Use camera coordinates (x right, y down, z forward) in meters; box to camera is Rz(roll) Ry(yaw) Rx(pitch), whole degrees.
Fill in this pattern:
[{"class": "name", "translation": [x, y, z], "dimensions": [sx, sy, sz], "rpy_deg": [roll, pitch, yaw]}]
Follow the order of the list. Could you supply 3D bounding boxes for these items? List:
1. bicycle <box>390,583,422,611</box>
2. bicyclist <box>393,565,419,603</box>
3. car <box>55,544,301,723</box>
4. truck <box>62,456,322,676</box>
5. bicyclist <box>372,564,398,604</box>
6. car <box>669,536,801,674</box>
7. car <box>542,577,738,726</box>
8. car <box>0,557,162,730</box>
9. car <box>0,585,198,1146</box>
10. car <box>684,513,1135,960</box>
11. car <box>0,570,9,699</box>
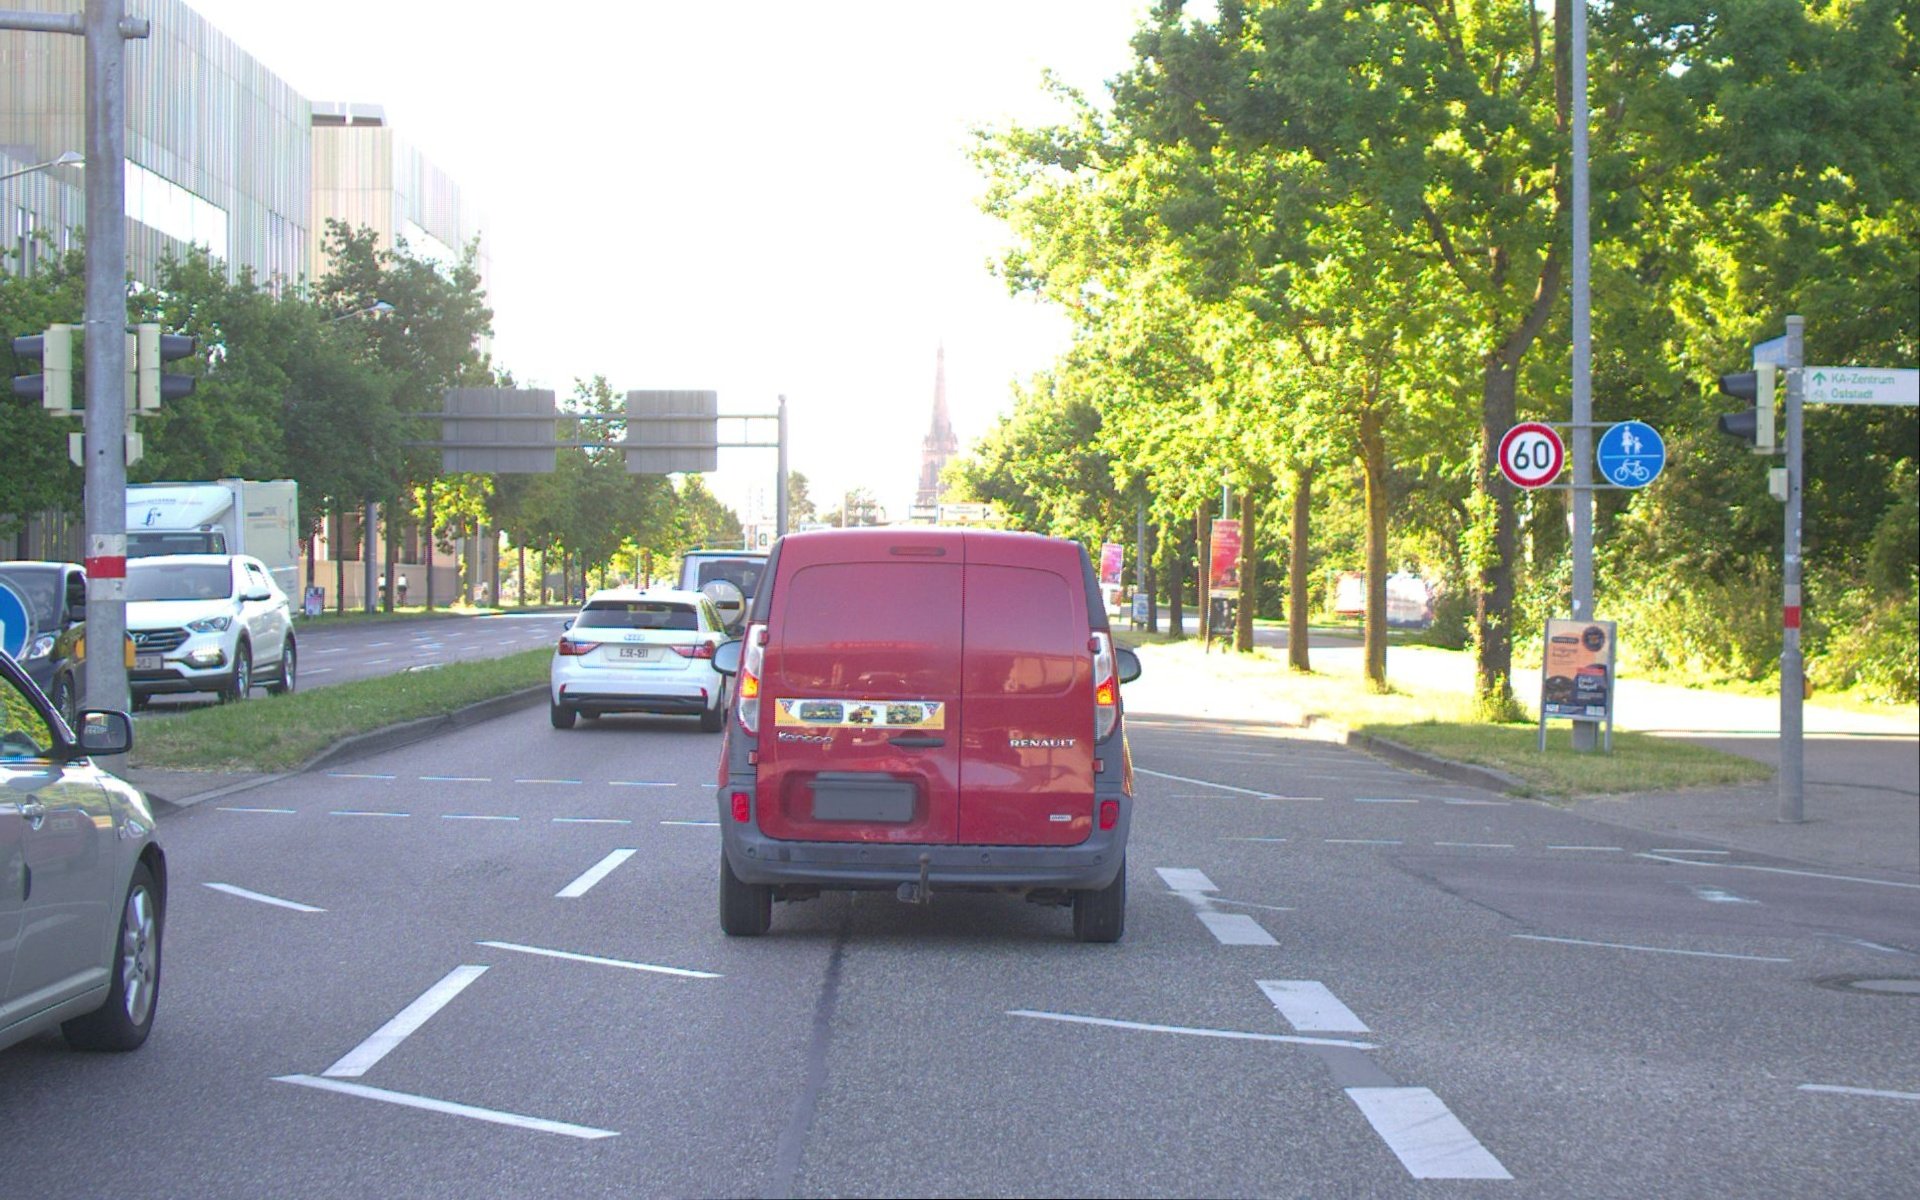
[{"class": "bicycle", "translation": [-25.174, -0.128, 156.263], "dimensions": [0.909, 1.195, 3.300], "rpy_deg": [1, -1, 0]}, {"class": "bicyclist", "translation": [-25.167, -0.716, 156.275], "dimensions": [0.909, 1.680, 1.409], "rpy_deg": [1, -1, 0]}, {"class": "car", "translation": [-8.489, 0.352, 37.642], "dimensions": [1.757, 1.790, 4.083], "rpy_deg": [-2, 0, -1]}, {"class": "truck", "translation": [-11.420, -0.471, 51.665], "dimensions": [2.409, 3.016, 6.657], "rpy_deg": [-2, 0, -1]}, {"class": "bicyclist", "translation": [-26.114, -0.746, 156.236], "dimensions": [0.909, 1.760, 1.396], "rpy_deg": [1, -1, 0]}, {"class": "car", "translation": [-3.401, 0.116, 52.661], "dimensions": [1.801, 1.982, 4.589], "rpy_deg": [1, -1, -2]}, {"class": "car", "translation": [-3.254, 0.500, 35.525], "dimensions": [1.813, 1.433, 3.731], "rpy_deg": [1, 0, -3]}, {"class": "car", "translation": [-8.404, 0.392, 30.809], "dimensions": [1.636, 1.438, 3.719], "rpy_deg": [-2, 0, -1]}, {"class": "car", "translation": [-3.383, 0.691, 9.128], "dimensions": [1.733, 1.475, 4.319], "rpy_deg": [1, 0, 0]}, {"class": "car", "translation": [-0.246, 0.537, 16.081], "dimensions": [1.805, 1.788, 4.000], "rpy_deg": [1, 1, -1]}, {"class": "car", "translation": [-11.502, 0.404, 36.558], "dimensions": [1.636, 1.438, 4.077], "rpy_deg": [-2, 0, 0]}]
